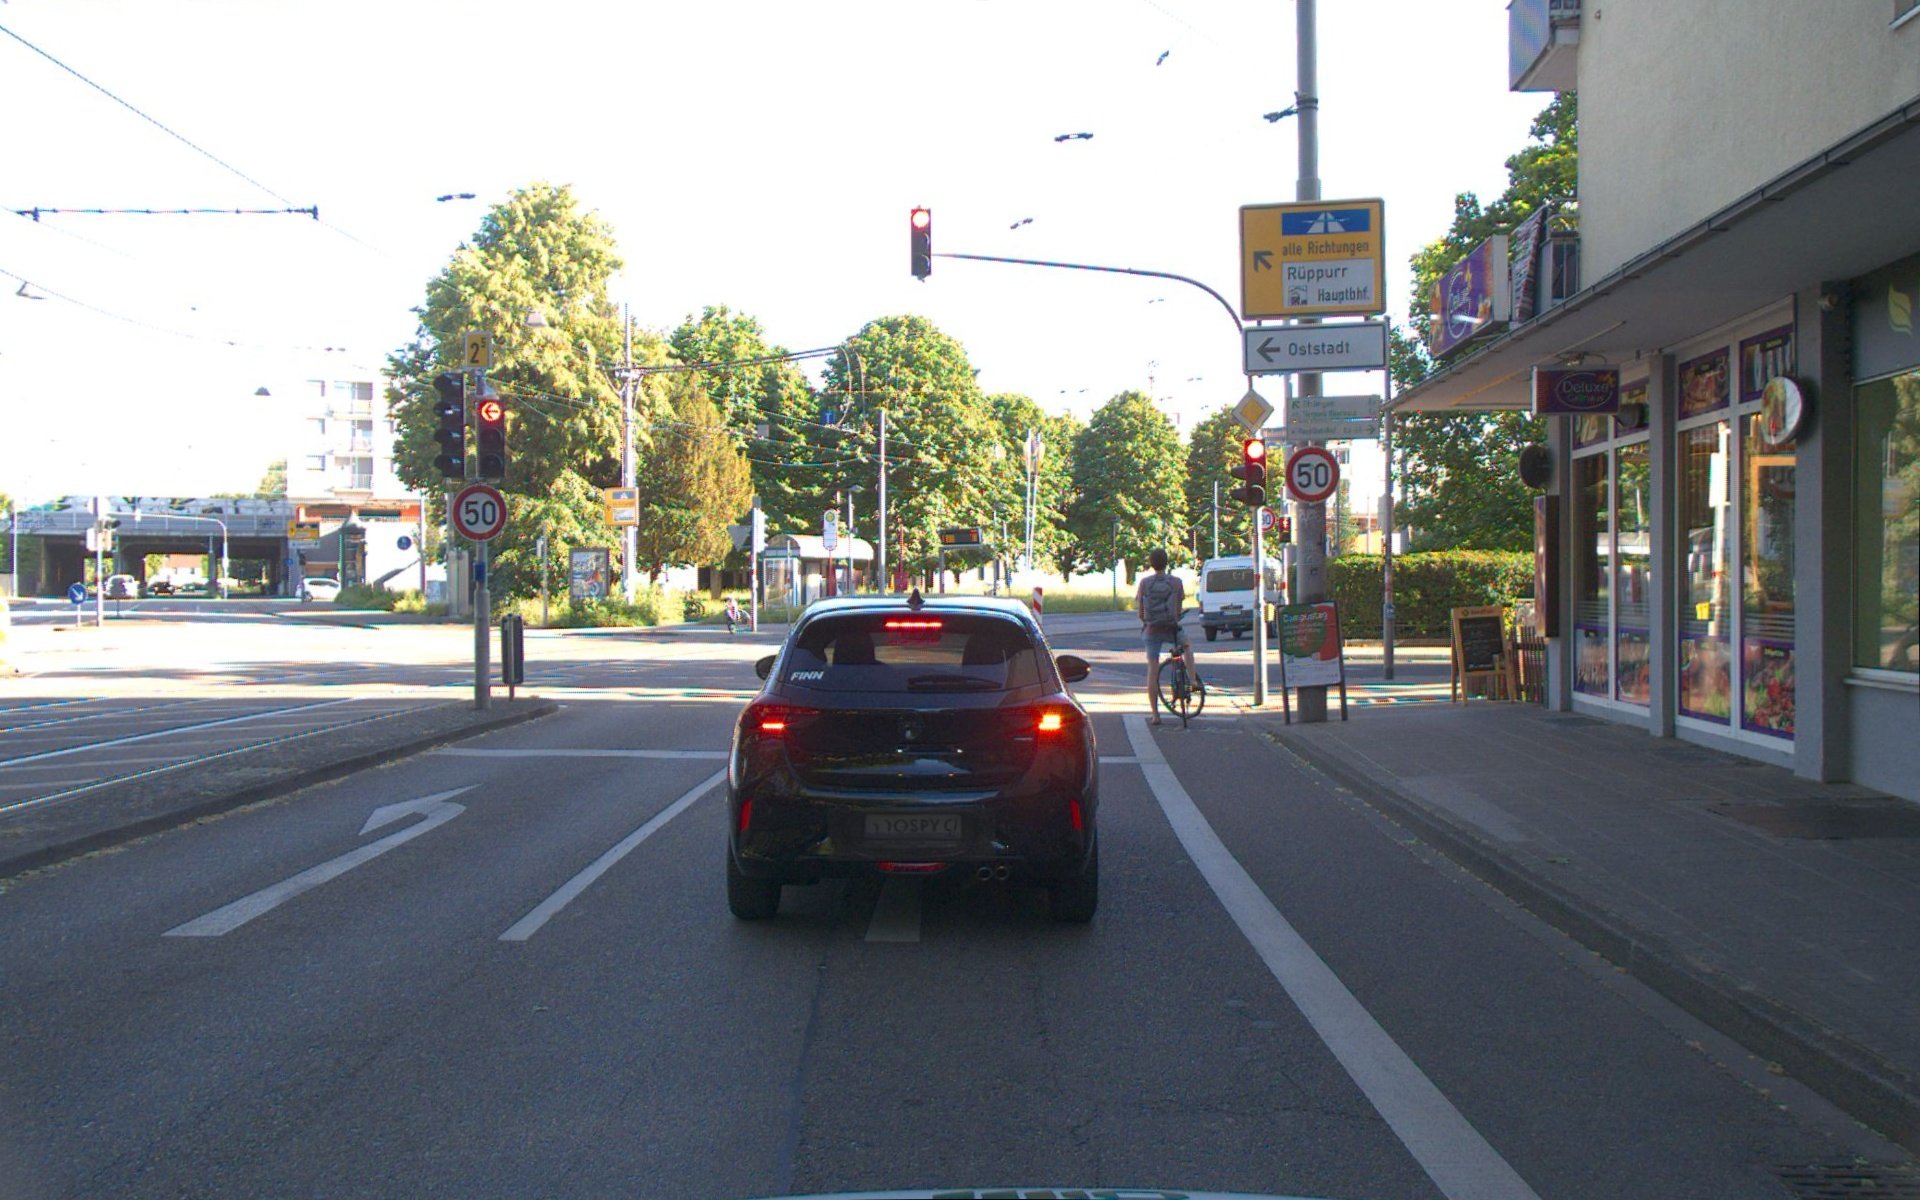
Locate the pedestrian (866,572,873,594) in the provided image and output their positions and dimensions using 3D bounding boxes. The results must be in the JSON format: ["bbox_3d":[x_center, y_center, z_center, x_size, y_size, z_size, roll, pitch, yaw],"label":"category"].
[{"bbox_3d":[-6.001,-1.107,109.907,0.404,1.437,0.436,2,0,-1],"label":"pedestrian"}]

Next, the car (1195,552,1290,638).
[{"bbox_3d":[8.014,-0.155,46.577,2.020,2.288,4.890,0,1,17],"label":"car"}]

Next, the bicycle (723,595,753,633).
[{"bbox_3d":[-6.216,0.381,46.373,0.593,1.049,1.982,0,1,-1],"label":"bicycle"}]

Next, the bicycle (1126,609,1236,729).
[{"bbox_3d":[2.357,0.709,17.894,0.842,1.173,2.171,-1,1,-1],"label":"bicycle"}]

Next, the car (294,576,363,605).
[{"bbox_3d":[-41.037,-0.609,107.456,4.121,1.836,1.723,-1,1,-25],"label":"car"}]

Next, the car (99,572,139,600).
[{"bbox_3d":[-58.214,-0.977,114.533,2.183,1.855,4.117,-1,1,-23],"label":"car"}]

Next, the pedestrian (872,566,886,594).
[{"bbox_3d":[-5.841,-1.422,119.205,0.899,2.015,0.991,2,0,-7],"label":"pedestrian"}]

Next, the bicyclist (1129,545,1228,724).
[{"bbox_3d":[2.347,0.359,17.865,0.922,1.883,0.864,-1,0,-1],"label":"bicyclist"}]

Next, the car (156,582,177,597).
[{"bbox_3d":[-87.535,-1.181,182.432,1.969,1.630,4.211,-1,1,-26],"label":"car"}]

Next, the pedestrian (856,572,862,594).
[{"bbox_3d":[-6.747,-1.127,110.445,0.404,1.437,0.436,2,0,-3],"label":"pedestrian"}]

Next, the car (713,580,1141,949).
[{"bbox_3d":[-0.150,0.643,8.682,1.692,1.454,4.186,1,0,-1],"label":"car"}]
